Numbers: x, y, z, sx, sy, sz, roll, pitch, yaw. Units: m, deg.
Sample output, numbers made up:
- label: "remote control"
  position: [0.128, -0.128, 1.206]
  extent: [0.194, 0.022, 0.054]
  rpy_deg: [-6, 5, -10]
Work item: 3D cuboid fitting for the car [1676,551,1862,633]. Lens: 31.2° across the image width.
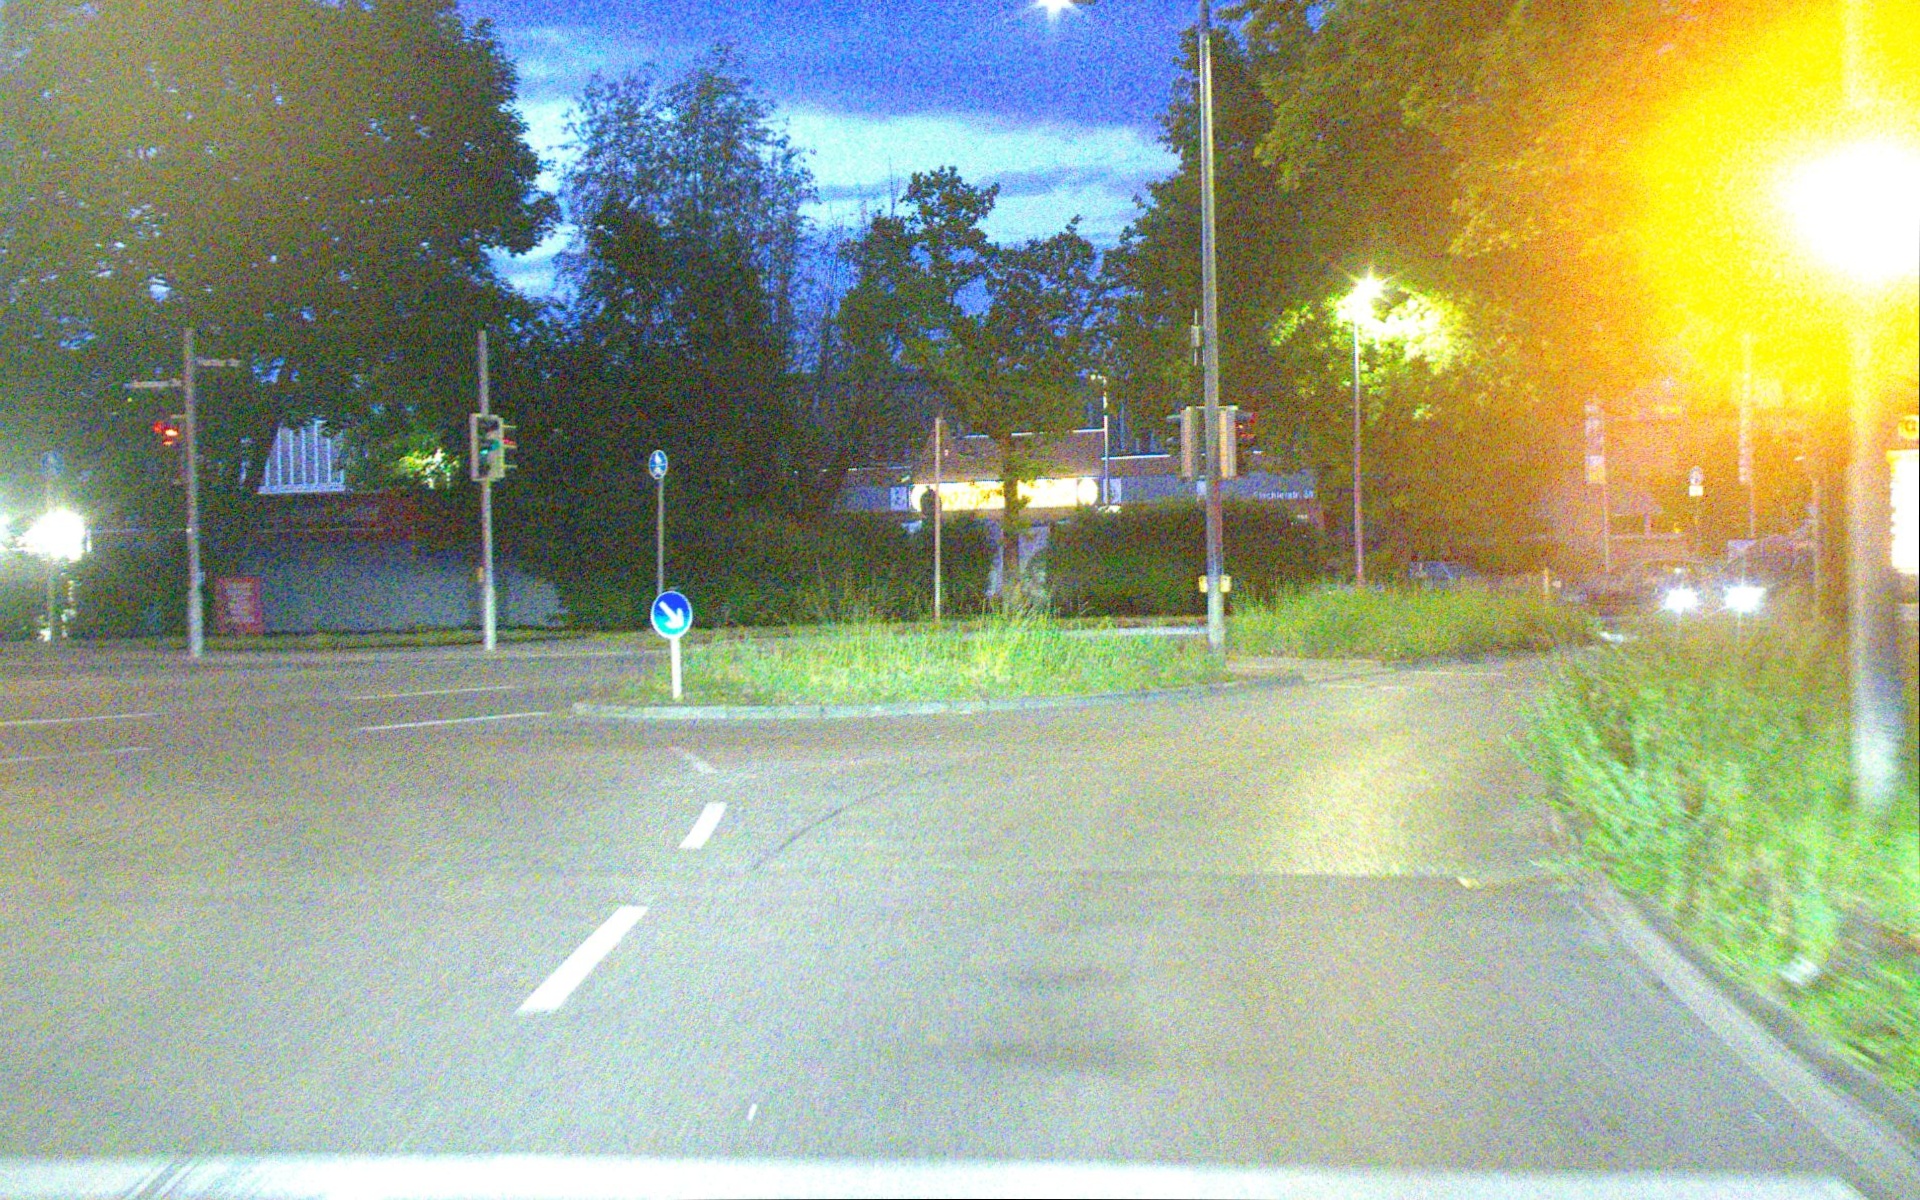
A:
- label: "car"
  position: [14.815, -0.174, 62.794]
  extent: [1.763, 1.440, 4.518]
  rpy_deg: [0, 1, 35]
